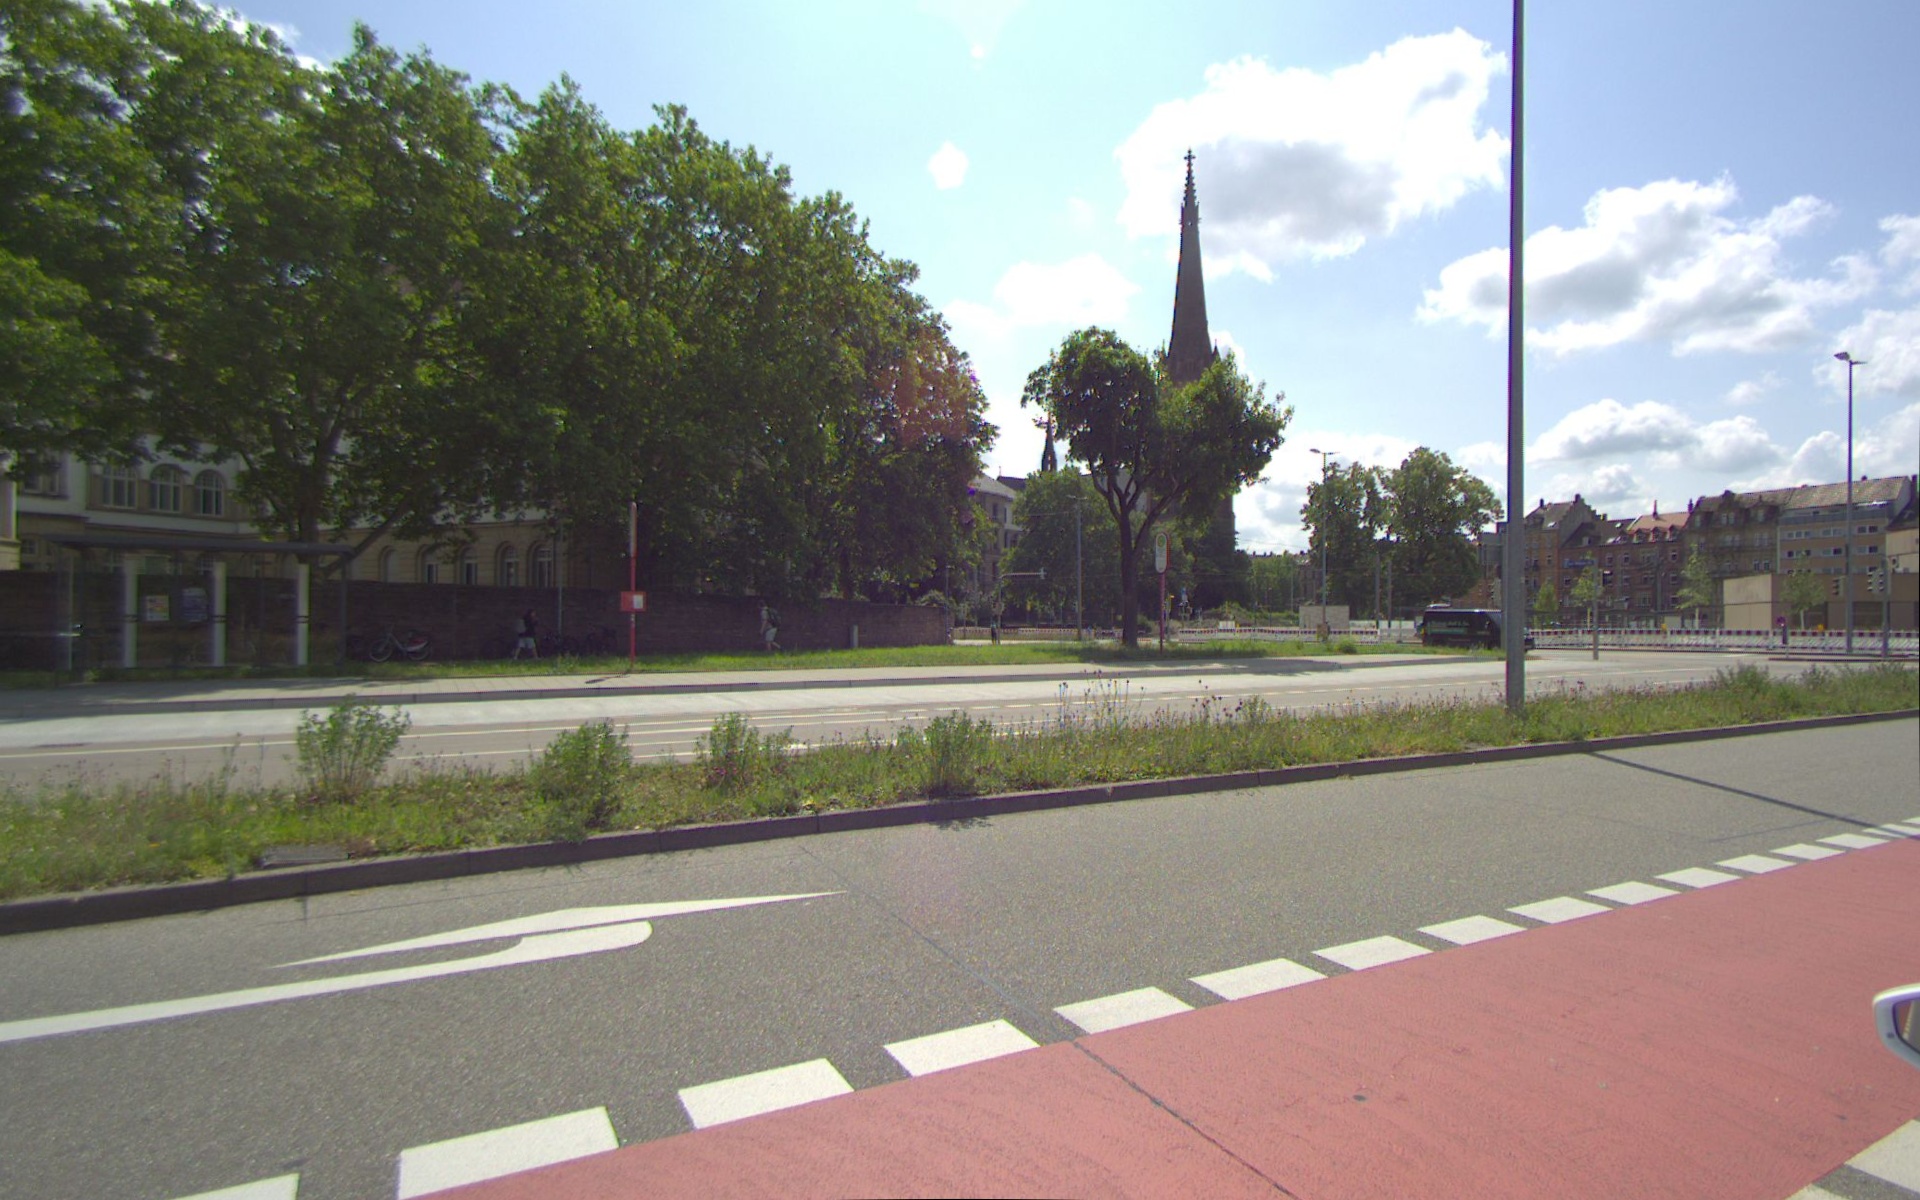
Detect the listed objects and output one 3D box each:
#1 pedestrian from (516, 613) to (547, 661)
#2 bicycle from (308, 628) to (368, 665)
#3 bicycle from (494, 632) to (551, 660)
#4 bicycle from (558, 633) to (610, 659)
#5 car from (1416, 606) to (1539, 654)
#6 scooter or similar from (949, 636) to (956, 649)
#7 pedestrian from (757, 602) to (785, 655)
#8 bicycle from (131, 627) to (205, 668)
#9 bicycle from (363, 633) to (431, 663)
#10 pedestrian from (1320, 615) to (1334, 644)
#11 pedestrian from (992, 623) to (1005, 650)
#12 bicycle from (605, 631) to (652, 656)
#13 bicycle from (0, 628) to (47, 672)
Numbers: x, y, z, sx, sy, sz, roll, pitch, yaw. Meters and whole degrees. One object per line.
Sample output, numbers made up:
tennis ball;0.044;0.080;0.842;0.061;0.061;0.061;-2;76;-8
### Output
pedestrian;-12.927;1.104;30.307;0.720;1.413;0.714;1;-1;-35
bicycle;-17.150;1.267;27.713;0.260;0.977;1.391;0;-1;36
bicycle;-14.011;1.464;32.197;0.378;0.828;1.743;0;-1;36
bicycle;-12.771;1.553;34.152;0.324;0.828;1.743;0;-1;36
car;24.999;1.395;48.670;2.129;2.204;4.979;1;-1;-30
scooter or similar;-0.431;2.478;58.982;0.117;0.721;1.005;0;-1;17
pedestrian;-5.367;0.798;28.465;0.627;1.492;0.506;1;-1;-32
bicycle;-19.426;1.160;24.657;0.260;0.977;1.391;0;-1;36
bicycle;-16.230;1.382;29.010;0.324;0.828;1.743;0;-1;36
pedestrian;25.695;2.062;70.338;0.625;2.040;0.643;1;-1;-32
pedestrian;2.866;2.719;74.705;0.713;2.040;0.721;1;-1;-32
bicycle;-11.767;1.533;35.679;0.324;0.828;1.743;0;-1;36
bicycle;-21.247;1.114;22.321;0.260;0.977;1.391;0;-1;36
